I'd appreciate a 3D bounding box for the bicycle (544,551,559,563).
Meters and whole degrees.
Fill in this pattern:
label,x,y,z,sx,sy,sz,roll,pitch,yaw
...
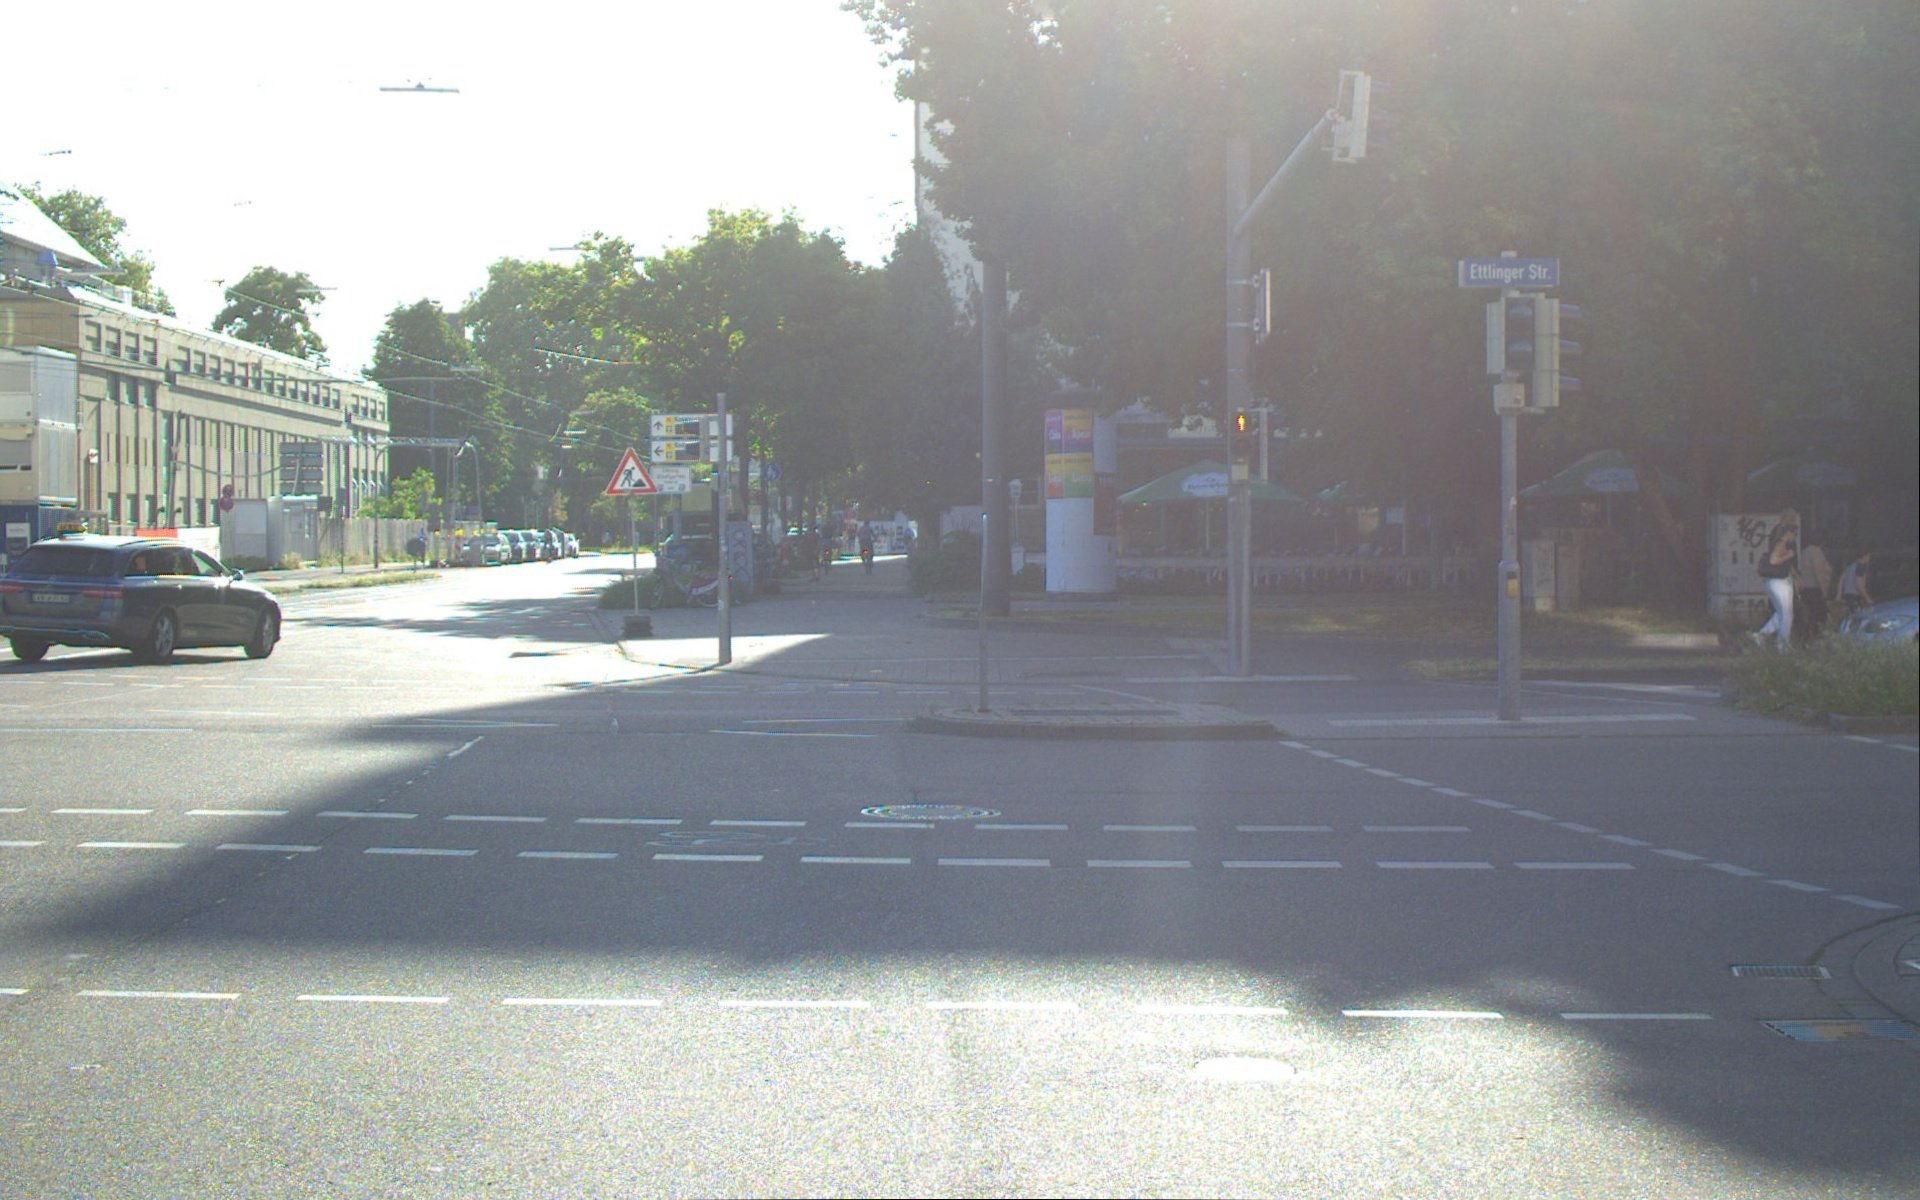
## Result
label,x,y,z,sx,sy,sz,roll,pitch,yaw
bicycle,-18.039,-1.907,151.783,0.501,0.513,1.258,1,1,-1

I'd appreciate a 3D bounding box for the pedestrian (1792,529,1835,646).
label,x,y,z,sx,sy,sz,roll,pitch,yaw
pedestrian,11.023,-0.164,44.410,0.439,1.498,0.437,0,1,1

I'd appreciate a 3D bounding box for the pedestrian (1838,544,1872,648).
label,x,y,z,sx,sy,sz,roll,pitch,yaw
pedestrian,11.346,-0.052,43.596,0.317,1.311,0.345,1,2,2

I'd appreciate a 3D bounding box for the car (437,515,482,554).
label,x,y,z,sx,sy,sz,roll,pitch,yaw
car,-22.766,-2.962,156.445,1.692,1.712,4.248,1,1,-4

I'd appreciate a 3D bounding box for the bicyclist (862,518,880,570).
label,x,y,z,sx,sy,sz,roll,pitch,yaw
bicyclist,-2.927,-1.824,112.653,0.569,1.685,0.700,0,1,-1

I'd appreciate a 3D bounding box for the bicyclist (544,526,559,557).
label,x,y,z,sx,sy,sz,roll,pitch,yaw
bicyclist,-18.032,-2.572,151.762,0.596,1.372,0.638,1,0,-2

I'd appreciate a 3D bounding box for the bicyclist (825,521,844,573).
label,x,y,z,sx,sy,sz,roll,pitch,yaw
bicyclist,-4.100,-1.748,112.446,0.569,1.685,0.700,0,1,-1

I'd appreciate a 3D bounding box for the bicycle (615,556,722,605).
label,x,y,z,sx,sy,sz,roll,pitch,yaw
bicycle,-5.725,-0.383,67.480,2.018,0.888,0.650,-2,0,27

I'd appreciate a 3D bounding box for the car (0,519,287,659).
label,x,y,z,sx,sy,sz,roll,pitch,yaw
car,-9.969,-0.177,41.455,1.893,1.560,4.805,1,1,12

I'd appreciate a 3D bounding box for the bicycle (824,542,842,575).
label,x,y,z,sx,sy,sz,roll,pitch,yaw
bicycle,-4.152,-1.366,112.514,0.575,1.073,1.831,0,1,-1

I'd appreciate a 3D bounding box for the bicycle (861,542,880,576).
label,x,y,z,sx,sy,sz,roll,pitch,yaw
bicycle,-2.933,-1.349,112.675,0.575,1.073,1.831,0,1,-1

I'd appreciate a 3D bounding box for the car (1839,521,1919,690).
label,x,y,z,sx,sy,sz,roll,pitch,yaw
car,10.758,0.021,33.410,3.993,1.605,1.650,-1,1,-1

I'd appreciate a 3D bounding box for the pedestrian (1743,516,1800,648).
label,x,y,z,sx,sy,sz,roll,pitch,yaw
pedestrian,10.332,-0.233,43.799,0.583,1.657,0.514,1,2,2

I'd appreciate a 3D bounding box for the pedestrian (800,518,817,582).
label,x,y,z,sx,sy,sz,roll,pitch,yaw
pedestrian,-4.326,-1.431,98.277,0.463,1.807,0.503,0,1,-5

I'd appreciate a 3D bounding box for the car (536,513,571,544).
label,x,y,z,sx,sy,sz,roll,pitch,yaw
car,-23.004,-4.026,194.691,1.692,1.712,4.248,1,1,-4
